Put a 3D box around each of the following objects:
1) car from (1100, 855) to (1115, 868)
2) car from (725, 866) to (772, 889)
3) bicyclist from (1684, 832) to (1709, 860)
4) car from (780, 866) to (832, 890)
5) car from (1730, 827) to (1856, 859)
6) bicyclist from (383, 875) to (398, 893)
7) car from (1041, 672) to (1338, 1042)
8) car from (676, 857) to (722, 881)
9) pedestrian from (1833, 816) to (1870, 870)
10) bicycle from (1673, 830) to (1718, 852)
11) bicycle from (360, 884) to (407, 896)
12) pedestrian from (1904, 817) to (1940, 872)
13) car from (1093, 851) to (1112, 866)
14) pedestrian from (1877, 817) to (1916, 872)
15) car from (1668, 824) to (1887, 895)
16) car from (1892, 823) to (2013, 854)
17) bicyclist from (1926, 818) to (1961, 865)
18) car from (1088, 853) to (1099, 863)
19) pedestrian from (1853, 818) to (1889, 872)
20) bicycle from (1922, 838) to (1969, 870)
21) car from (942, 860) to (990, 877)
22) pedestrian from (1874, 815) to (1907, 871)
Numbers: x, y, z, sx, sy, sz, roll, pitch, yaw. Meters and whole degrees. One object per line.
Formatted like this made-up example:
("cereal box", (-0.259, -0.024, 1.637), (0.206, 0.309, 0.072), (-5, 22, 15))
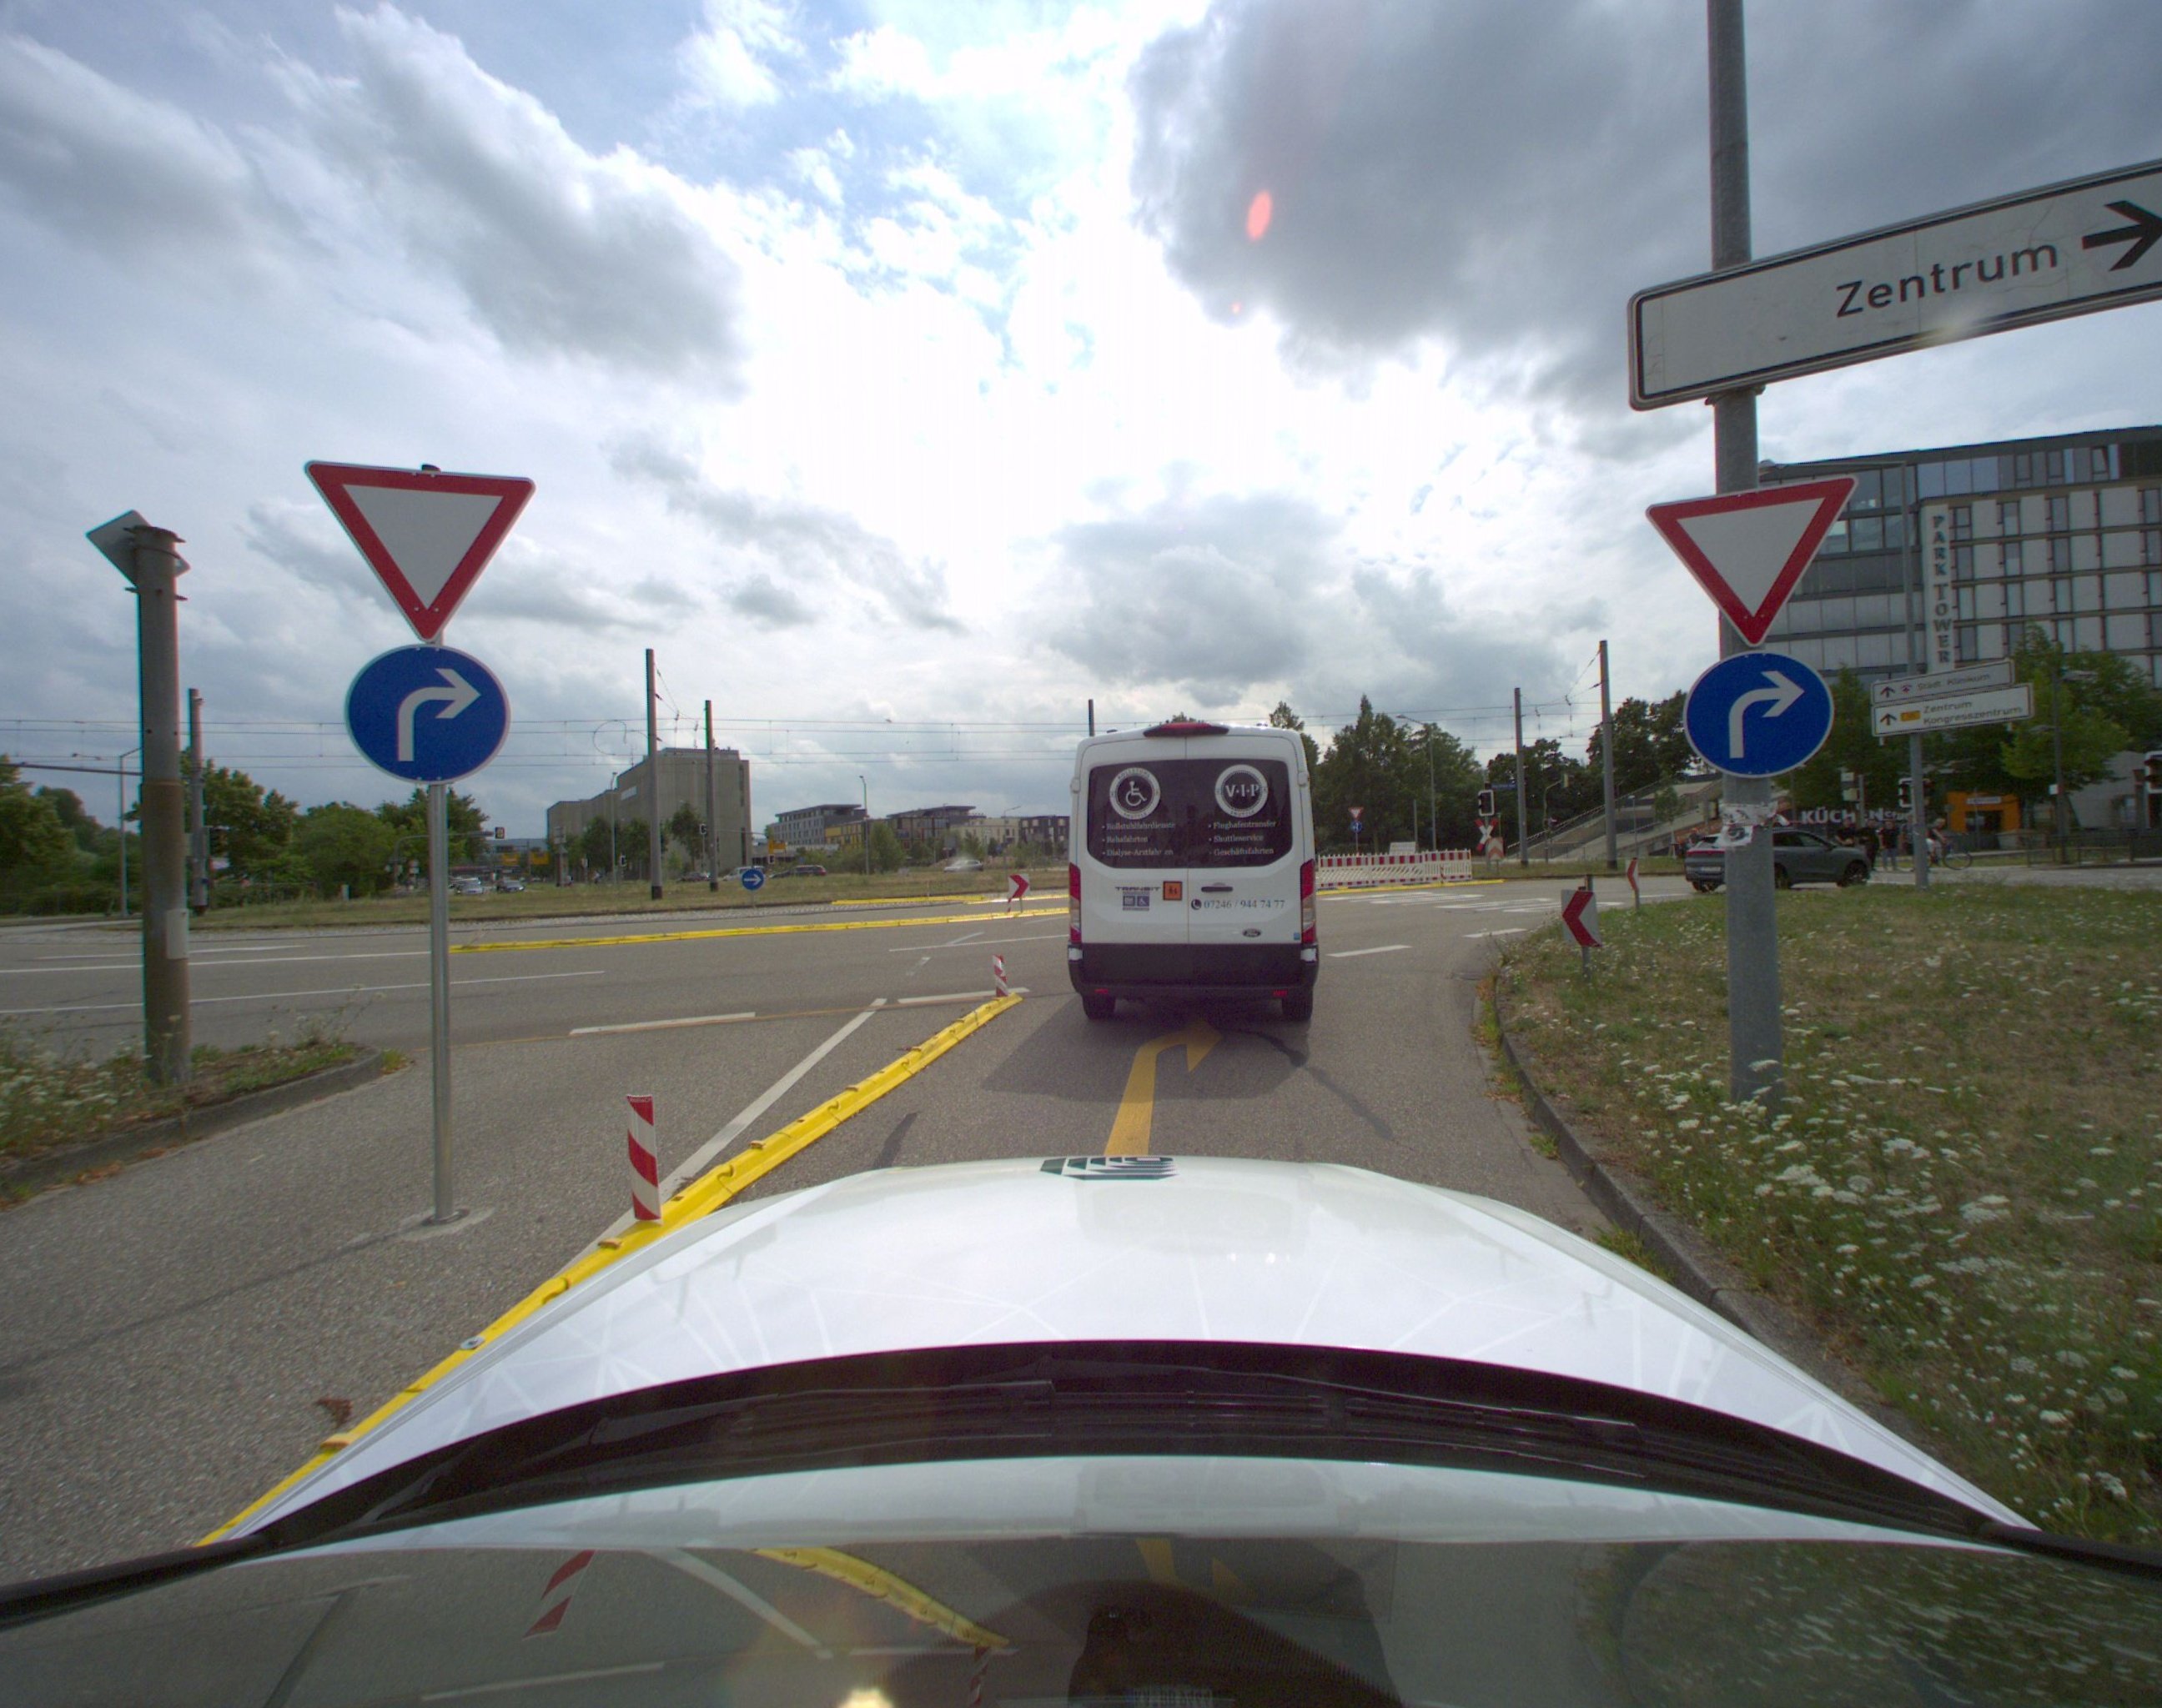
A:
("car", (4.205, 1.207, 127.851), (1.983, 1.849, 4.006), (-1, -2, 6))
("car", (-31.255, 2.211, 76.564), (4.305, 2.014, 2.013), (-2, -2, 34))
("bicyclist", (28.946, -0.379, 38.306), (0.637, 1.317, 0.673), (-2, 0, -7))
("car", (-23.466, 2.053, 69.622), (3.994, 2.014, 1.990), (-1, -2, -15))
("car", (37.570, -0.569, 43.082), (4.692, 1.458, 1.854), (-2, 0, 11))
("bicyclist", (-55.260, 2.379, 65.210), (0.853, 1.409, 0.678), (-2, -1, 34))
("car", (1.230, 0.058, 8.878), (2.114, 2.697, 5.646), (-2, 0, 9))
("car", (-33.980, 1.356, 72.431), (3.948, 2.014, 2.013), (-2, -2, 34))
("pedestrian", (26.074, -0.376, 27.580), (0.685, 1.781, 0.554), (-2, 0, 4))
("bicycle", (28.923, -0.611, 38.383), (0.651, 1.007, 1.752), (-2, 0, -7))
("bicycle", (-55.495, 2.866, 64.790), (0.853, 0.855, 2.676), (-2, 0, 34))
("pedestrian", (27.734, -0.318, 26.867), (0.576, 1.781, 0.554), (-2, 0, 4))
("car", (3.016, 0.649, 112.045), (1.981, 1.849, 4.011), (-1, -2, 10))
("pedestrian", (27.047, -0.311, 27.026), (0.685, 1.781, 0.554), (-2, 0, 4))
("car", (17.475, 0.114, 20.489), (4.470, 1.551, 2.053), (-2, 0, -16))
("car", (45.395, -0.794, 42.527), (3.960, 1.458, 1.855), (-2, 0, 12))
("bicyclist", (29.330, -0.425, 27.706), (0.553, 1.580, 0.770), (-2, 0, 28))
("car", (2.635, 0.836, 170.244), (1.984, 1.849, 4.005), (-1, -2, 5))
("pedestrian", (26.827, -0.305, 27.669), (0.628, 1.781, 0.554), (-2, 0, 4))
("bicycle", (29.302, -0.018, 27.627), (0.542, 1.058, 1.723), (-2, 0, 28))
("car", (-10.652, 1.376, 75.590), (4.023, 1.463, 1.811), (-1, -1, -44))
("pedestrian", (27.518, -0.369, 27.699), (0.527, 1.862, 0.554), (-2, 0, 4))
